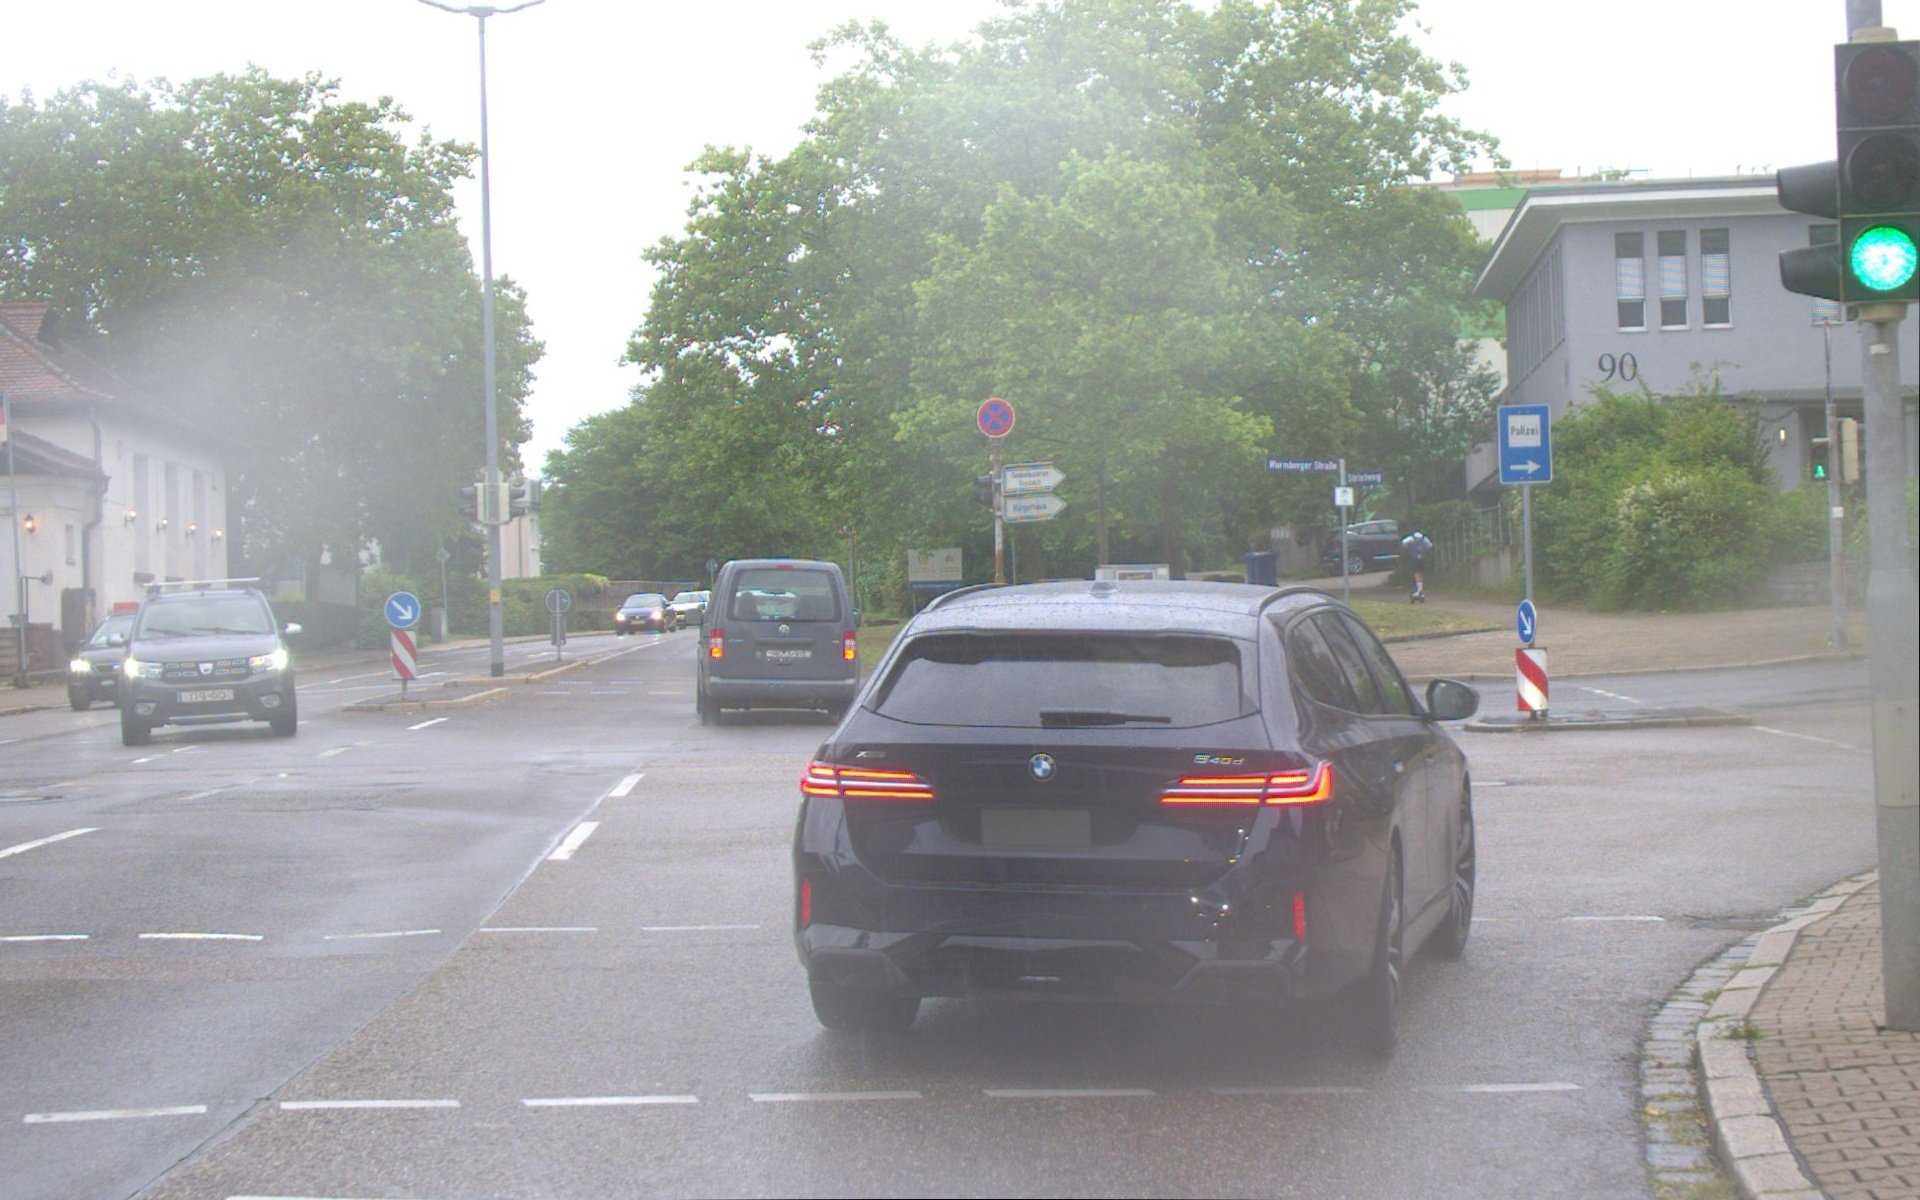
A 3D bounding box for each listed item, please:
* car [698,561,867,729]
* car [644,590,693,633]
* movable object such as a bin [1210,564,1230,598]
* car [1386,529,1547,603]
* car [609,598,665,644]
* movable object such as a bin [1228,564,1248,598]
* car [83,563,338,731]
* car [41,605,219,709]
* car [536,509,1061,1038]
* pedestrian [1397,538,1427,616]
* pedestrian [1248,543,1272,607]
[{"bbox_3d":[-2.026,0.498,38.786,1.812,1.802,3.757,0,-1,-4],"label":"car"},{"bbox_3d":[-11.899,0.462,140.516,1.830,1.666,4.051,-2,1,-3],"label":"car"},{"bbox_3d":[6.863,-0.496,90.886,0.450,0.903,0.462,0,-1,15],"label":"movable object such as a bin"},{"bbox_3d":[12.815,-0.848,87.171,3.988,1.810,1.999,0,-1,7],"label":"car"},{"bbox_3d":[-11.672,0.743,124.553,1.793,1.522,4.209,-2,1,-3],"label":"car"},{"bbox_3d":[7.341,-0.496,90.779,0.450,0.903,0.462,0,-1,15],"label":"movable object such as a bin"},{"bbox_3d":[-7.685,0.431,35.664,1.898,1.572,4.503,-2,1,-4],"label":"car"},{"bbox_3d":[-12.736,0.851,52.992,1.908,1.422,4.416,-2,1,-4],"label":"car"},{"bbox_3d":[-0.584,0.519,11.757,1.523,1.529,3.532,0,-1,-4],"label":"car"},{"bbox_3d":[9.351,-0.479,71.161,0.600,1.612,0.525,0,-1,6],"label":"pedestrian"},{"bbox_3d":[8.297,-0.684,95.091,0.557,1.757,0.728,0,-1,-5],"label":"pedestrian"}]
